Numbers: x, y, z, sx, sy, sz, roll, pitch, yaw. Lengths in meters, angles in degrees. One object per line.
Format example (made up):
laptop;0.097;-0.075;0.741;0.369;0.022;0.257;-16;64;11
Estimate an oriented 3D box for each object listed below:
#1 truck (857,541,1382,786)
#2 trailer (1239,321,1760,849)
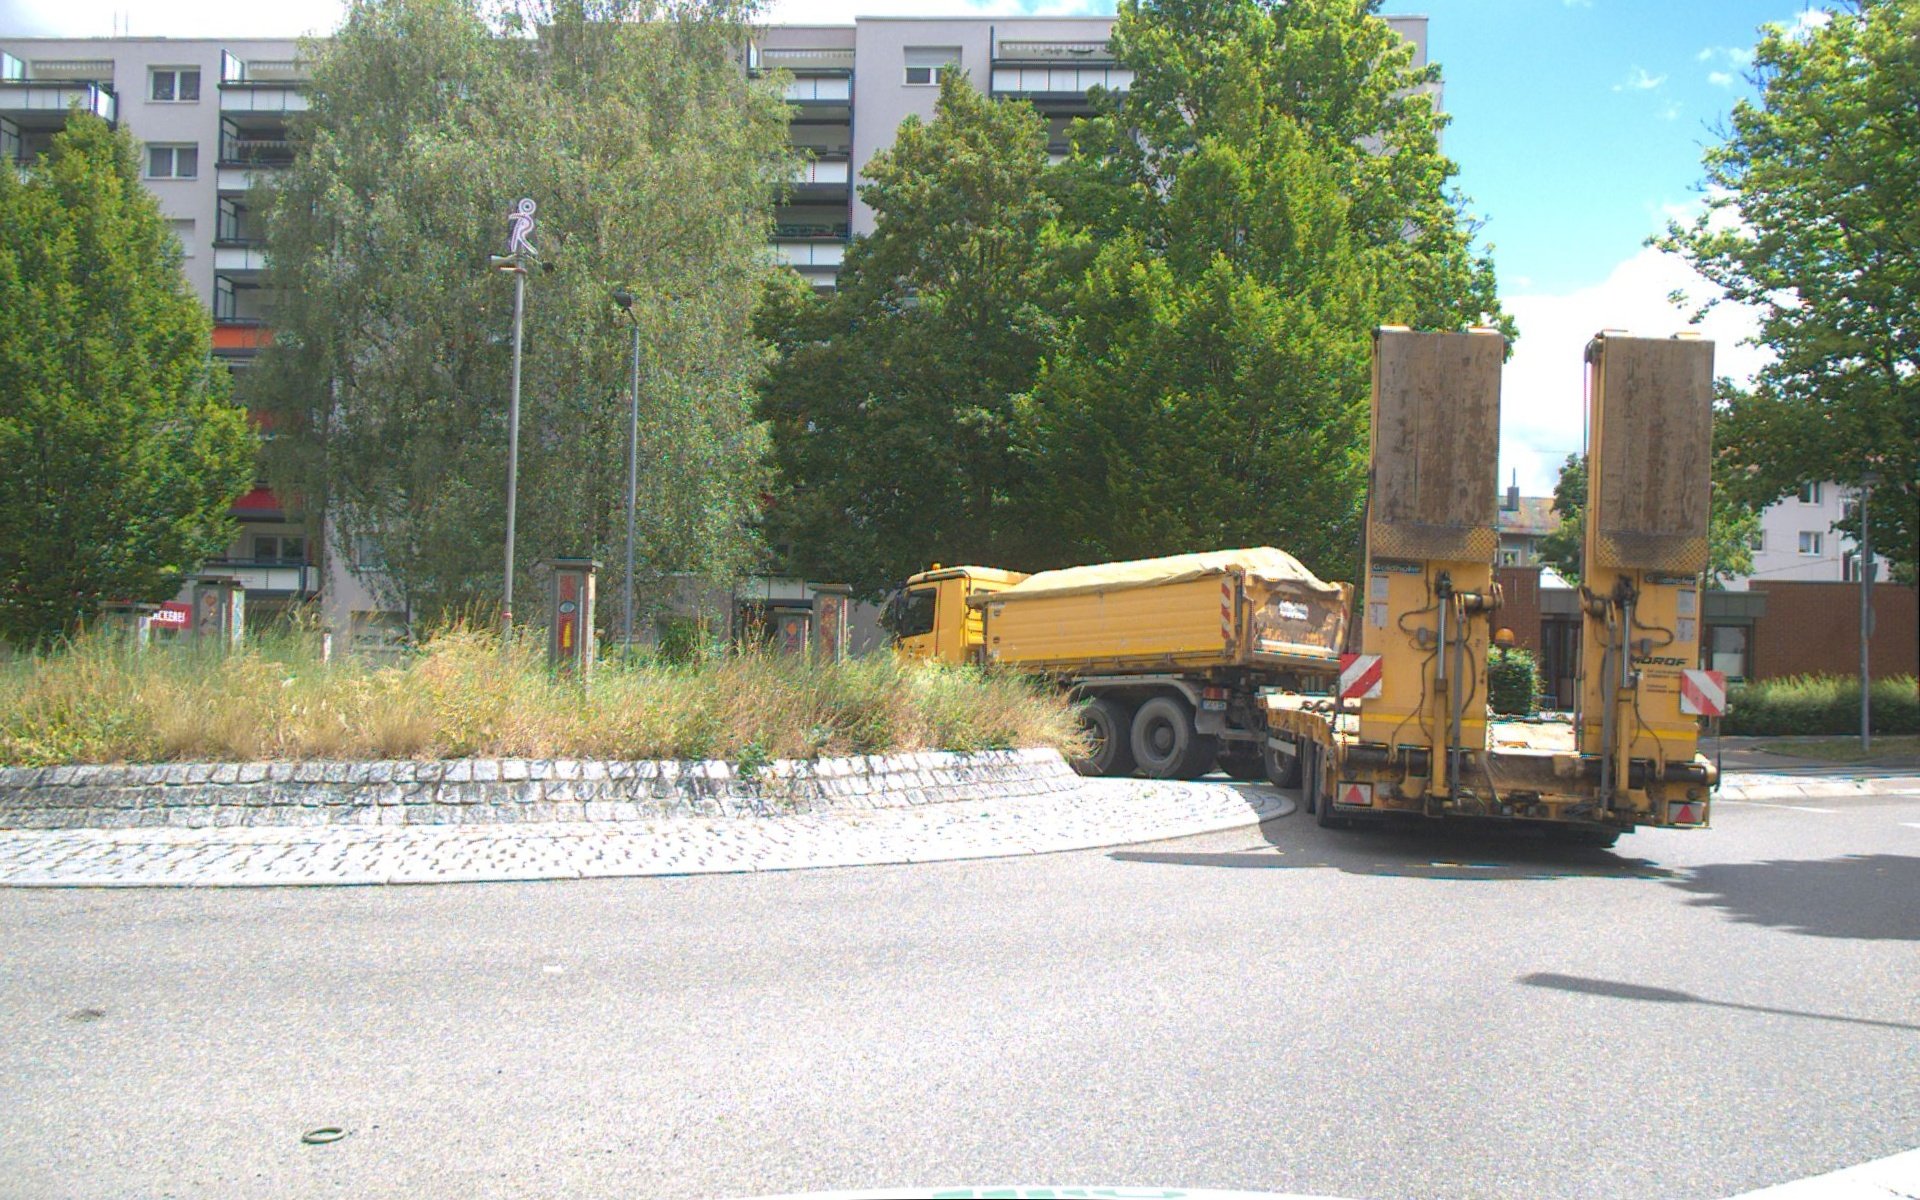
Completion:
truck;2.052;0.926;25.084;2.968;3.088;8.365;2;-3;-39
trailer;4.485;0.148;16.378;2.803;3.432;10.846;2;-3;7
